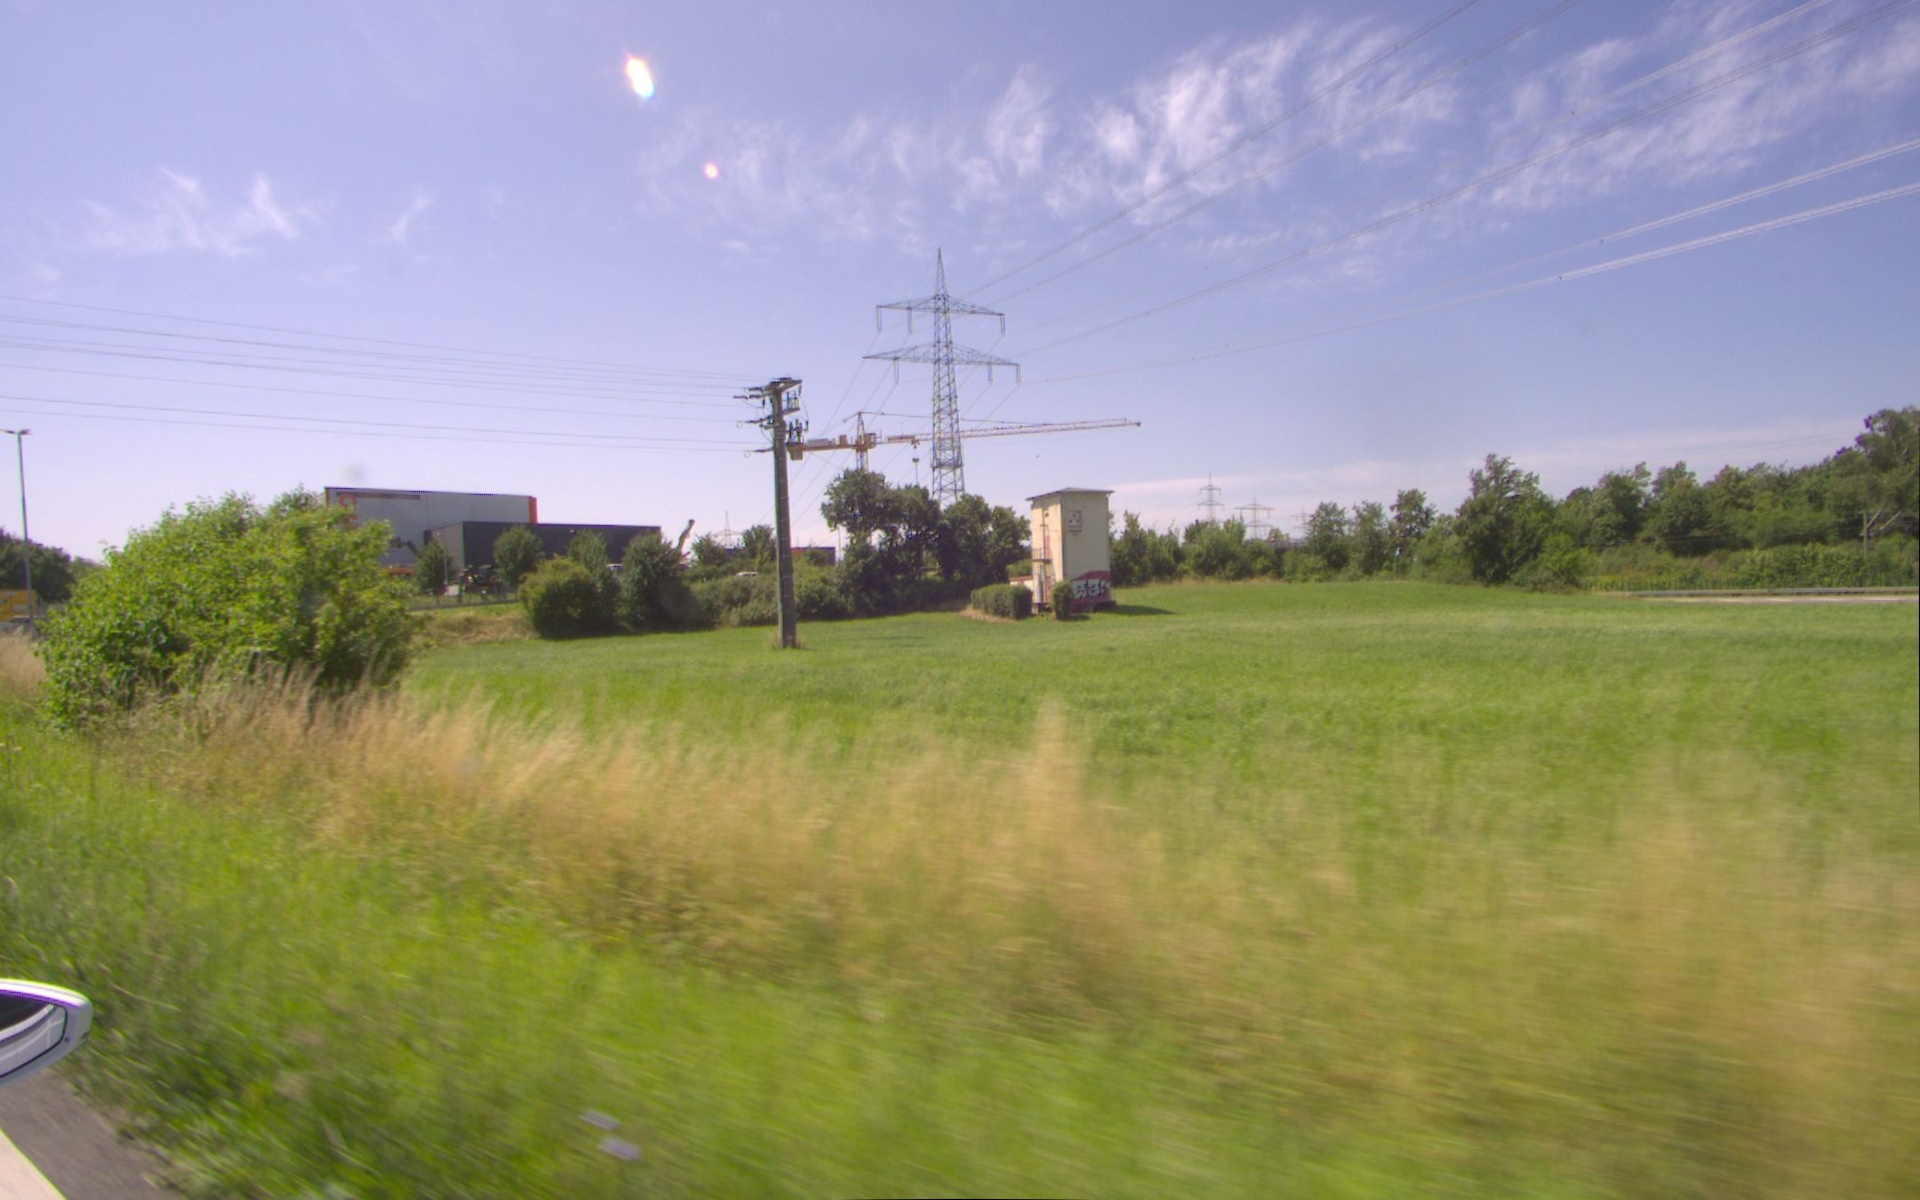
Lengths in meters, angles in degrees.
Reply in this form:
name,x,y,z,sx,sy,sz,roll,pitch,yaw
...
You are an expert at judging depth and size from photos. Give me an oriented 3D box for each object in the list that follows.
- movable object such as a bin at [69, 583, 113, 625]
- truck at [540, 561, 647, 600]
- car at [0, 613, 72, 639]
name,x,y,z,sx,sy,sz,roll,pitch,yaw
movable object such as a bin,-73.806,0.384,85.026,5.050,3.291,2.309,-4,-2,44
truck,-33.006,-1.652,90.556,3.070,3.177,8.742,-3,-2,37
car,-62.935,1.727,67.485,1.894,1.528,4.482,0,2,44
